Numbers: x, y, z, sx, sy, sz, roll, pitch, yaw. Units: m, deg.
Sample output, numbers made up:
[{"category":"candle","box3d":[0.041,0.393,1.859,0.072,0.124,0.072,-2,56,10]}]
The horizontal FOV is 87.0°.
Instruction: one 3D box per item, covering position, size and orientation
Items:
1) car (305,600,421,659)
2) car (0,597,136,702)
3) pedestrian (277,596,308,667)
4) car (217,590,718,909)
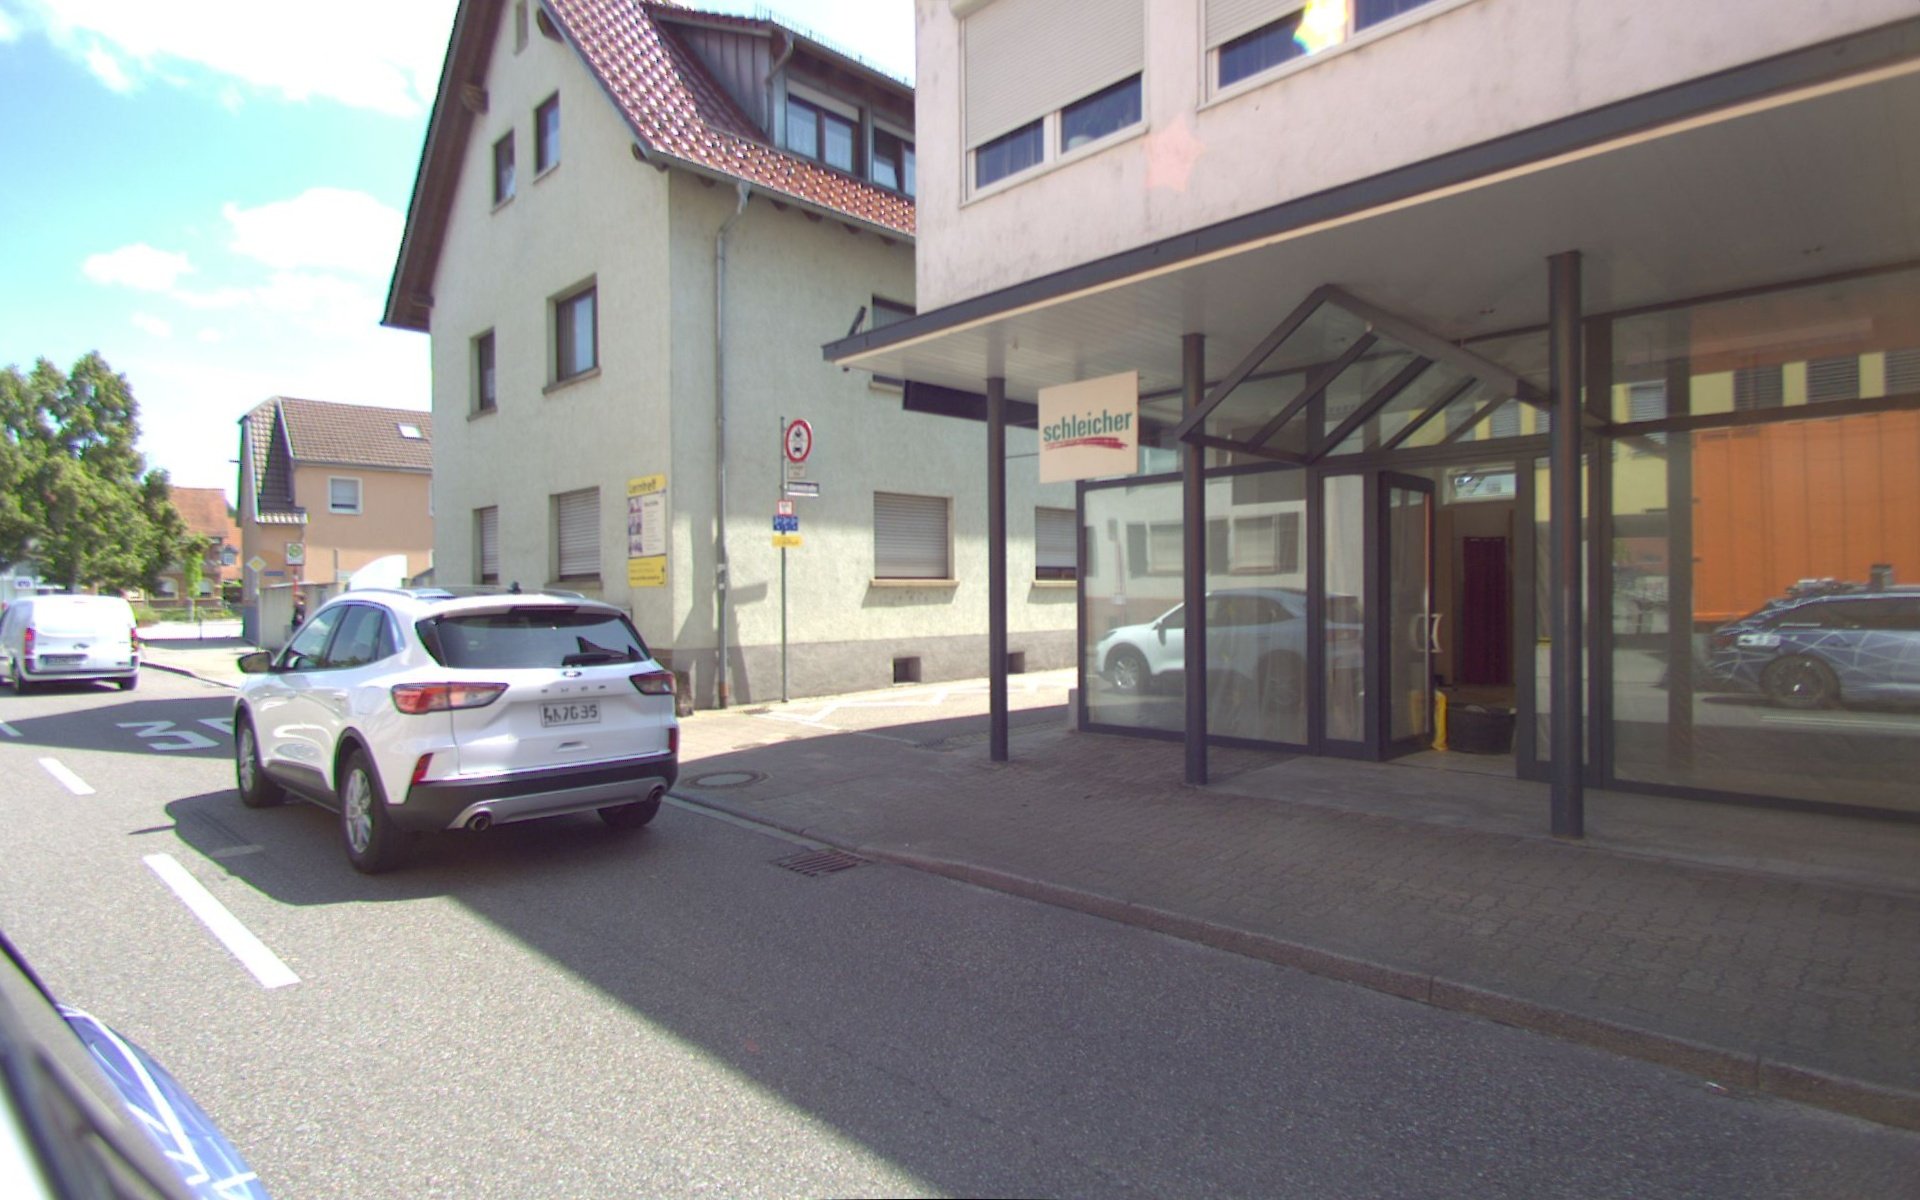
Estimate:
[{"category":"car","box3d":[-17.879,0.844,30.245,3.996,1.623,1.731,-1,0,39]},{"category":"car","box3d":[-17.779,0.880,19.795,4.597,1.844,1.764,0,-1,40]},{"category":"pedestrian","box3d":[-16.766,0.782,25.423,0.475,1.777,0.468,-1,0,22]},{"category":"car","box3d":[-3.645,0.761,7.095,4.199,1.566,1.798,0,-2,44]}]
